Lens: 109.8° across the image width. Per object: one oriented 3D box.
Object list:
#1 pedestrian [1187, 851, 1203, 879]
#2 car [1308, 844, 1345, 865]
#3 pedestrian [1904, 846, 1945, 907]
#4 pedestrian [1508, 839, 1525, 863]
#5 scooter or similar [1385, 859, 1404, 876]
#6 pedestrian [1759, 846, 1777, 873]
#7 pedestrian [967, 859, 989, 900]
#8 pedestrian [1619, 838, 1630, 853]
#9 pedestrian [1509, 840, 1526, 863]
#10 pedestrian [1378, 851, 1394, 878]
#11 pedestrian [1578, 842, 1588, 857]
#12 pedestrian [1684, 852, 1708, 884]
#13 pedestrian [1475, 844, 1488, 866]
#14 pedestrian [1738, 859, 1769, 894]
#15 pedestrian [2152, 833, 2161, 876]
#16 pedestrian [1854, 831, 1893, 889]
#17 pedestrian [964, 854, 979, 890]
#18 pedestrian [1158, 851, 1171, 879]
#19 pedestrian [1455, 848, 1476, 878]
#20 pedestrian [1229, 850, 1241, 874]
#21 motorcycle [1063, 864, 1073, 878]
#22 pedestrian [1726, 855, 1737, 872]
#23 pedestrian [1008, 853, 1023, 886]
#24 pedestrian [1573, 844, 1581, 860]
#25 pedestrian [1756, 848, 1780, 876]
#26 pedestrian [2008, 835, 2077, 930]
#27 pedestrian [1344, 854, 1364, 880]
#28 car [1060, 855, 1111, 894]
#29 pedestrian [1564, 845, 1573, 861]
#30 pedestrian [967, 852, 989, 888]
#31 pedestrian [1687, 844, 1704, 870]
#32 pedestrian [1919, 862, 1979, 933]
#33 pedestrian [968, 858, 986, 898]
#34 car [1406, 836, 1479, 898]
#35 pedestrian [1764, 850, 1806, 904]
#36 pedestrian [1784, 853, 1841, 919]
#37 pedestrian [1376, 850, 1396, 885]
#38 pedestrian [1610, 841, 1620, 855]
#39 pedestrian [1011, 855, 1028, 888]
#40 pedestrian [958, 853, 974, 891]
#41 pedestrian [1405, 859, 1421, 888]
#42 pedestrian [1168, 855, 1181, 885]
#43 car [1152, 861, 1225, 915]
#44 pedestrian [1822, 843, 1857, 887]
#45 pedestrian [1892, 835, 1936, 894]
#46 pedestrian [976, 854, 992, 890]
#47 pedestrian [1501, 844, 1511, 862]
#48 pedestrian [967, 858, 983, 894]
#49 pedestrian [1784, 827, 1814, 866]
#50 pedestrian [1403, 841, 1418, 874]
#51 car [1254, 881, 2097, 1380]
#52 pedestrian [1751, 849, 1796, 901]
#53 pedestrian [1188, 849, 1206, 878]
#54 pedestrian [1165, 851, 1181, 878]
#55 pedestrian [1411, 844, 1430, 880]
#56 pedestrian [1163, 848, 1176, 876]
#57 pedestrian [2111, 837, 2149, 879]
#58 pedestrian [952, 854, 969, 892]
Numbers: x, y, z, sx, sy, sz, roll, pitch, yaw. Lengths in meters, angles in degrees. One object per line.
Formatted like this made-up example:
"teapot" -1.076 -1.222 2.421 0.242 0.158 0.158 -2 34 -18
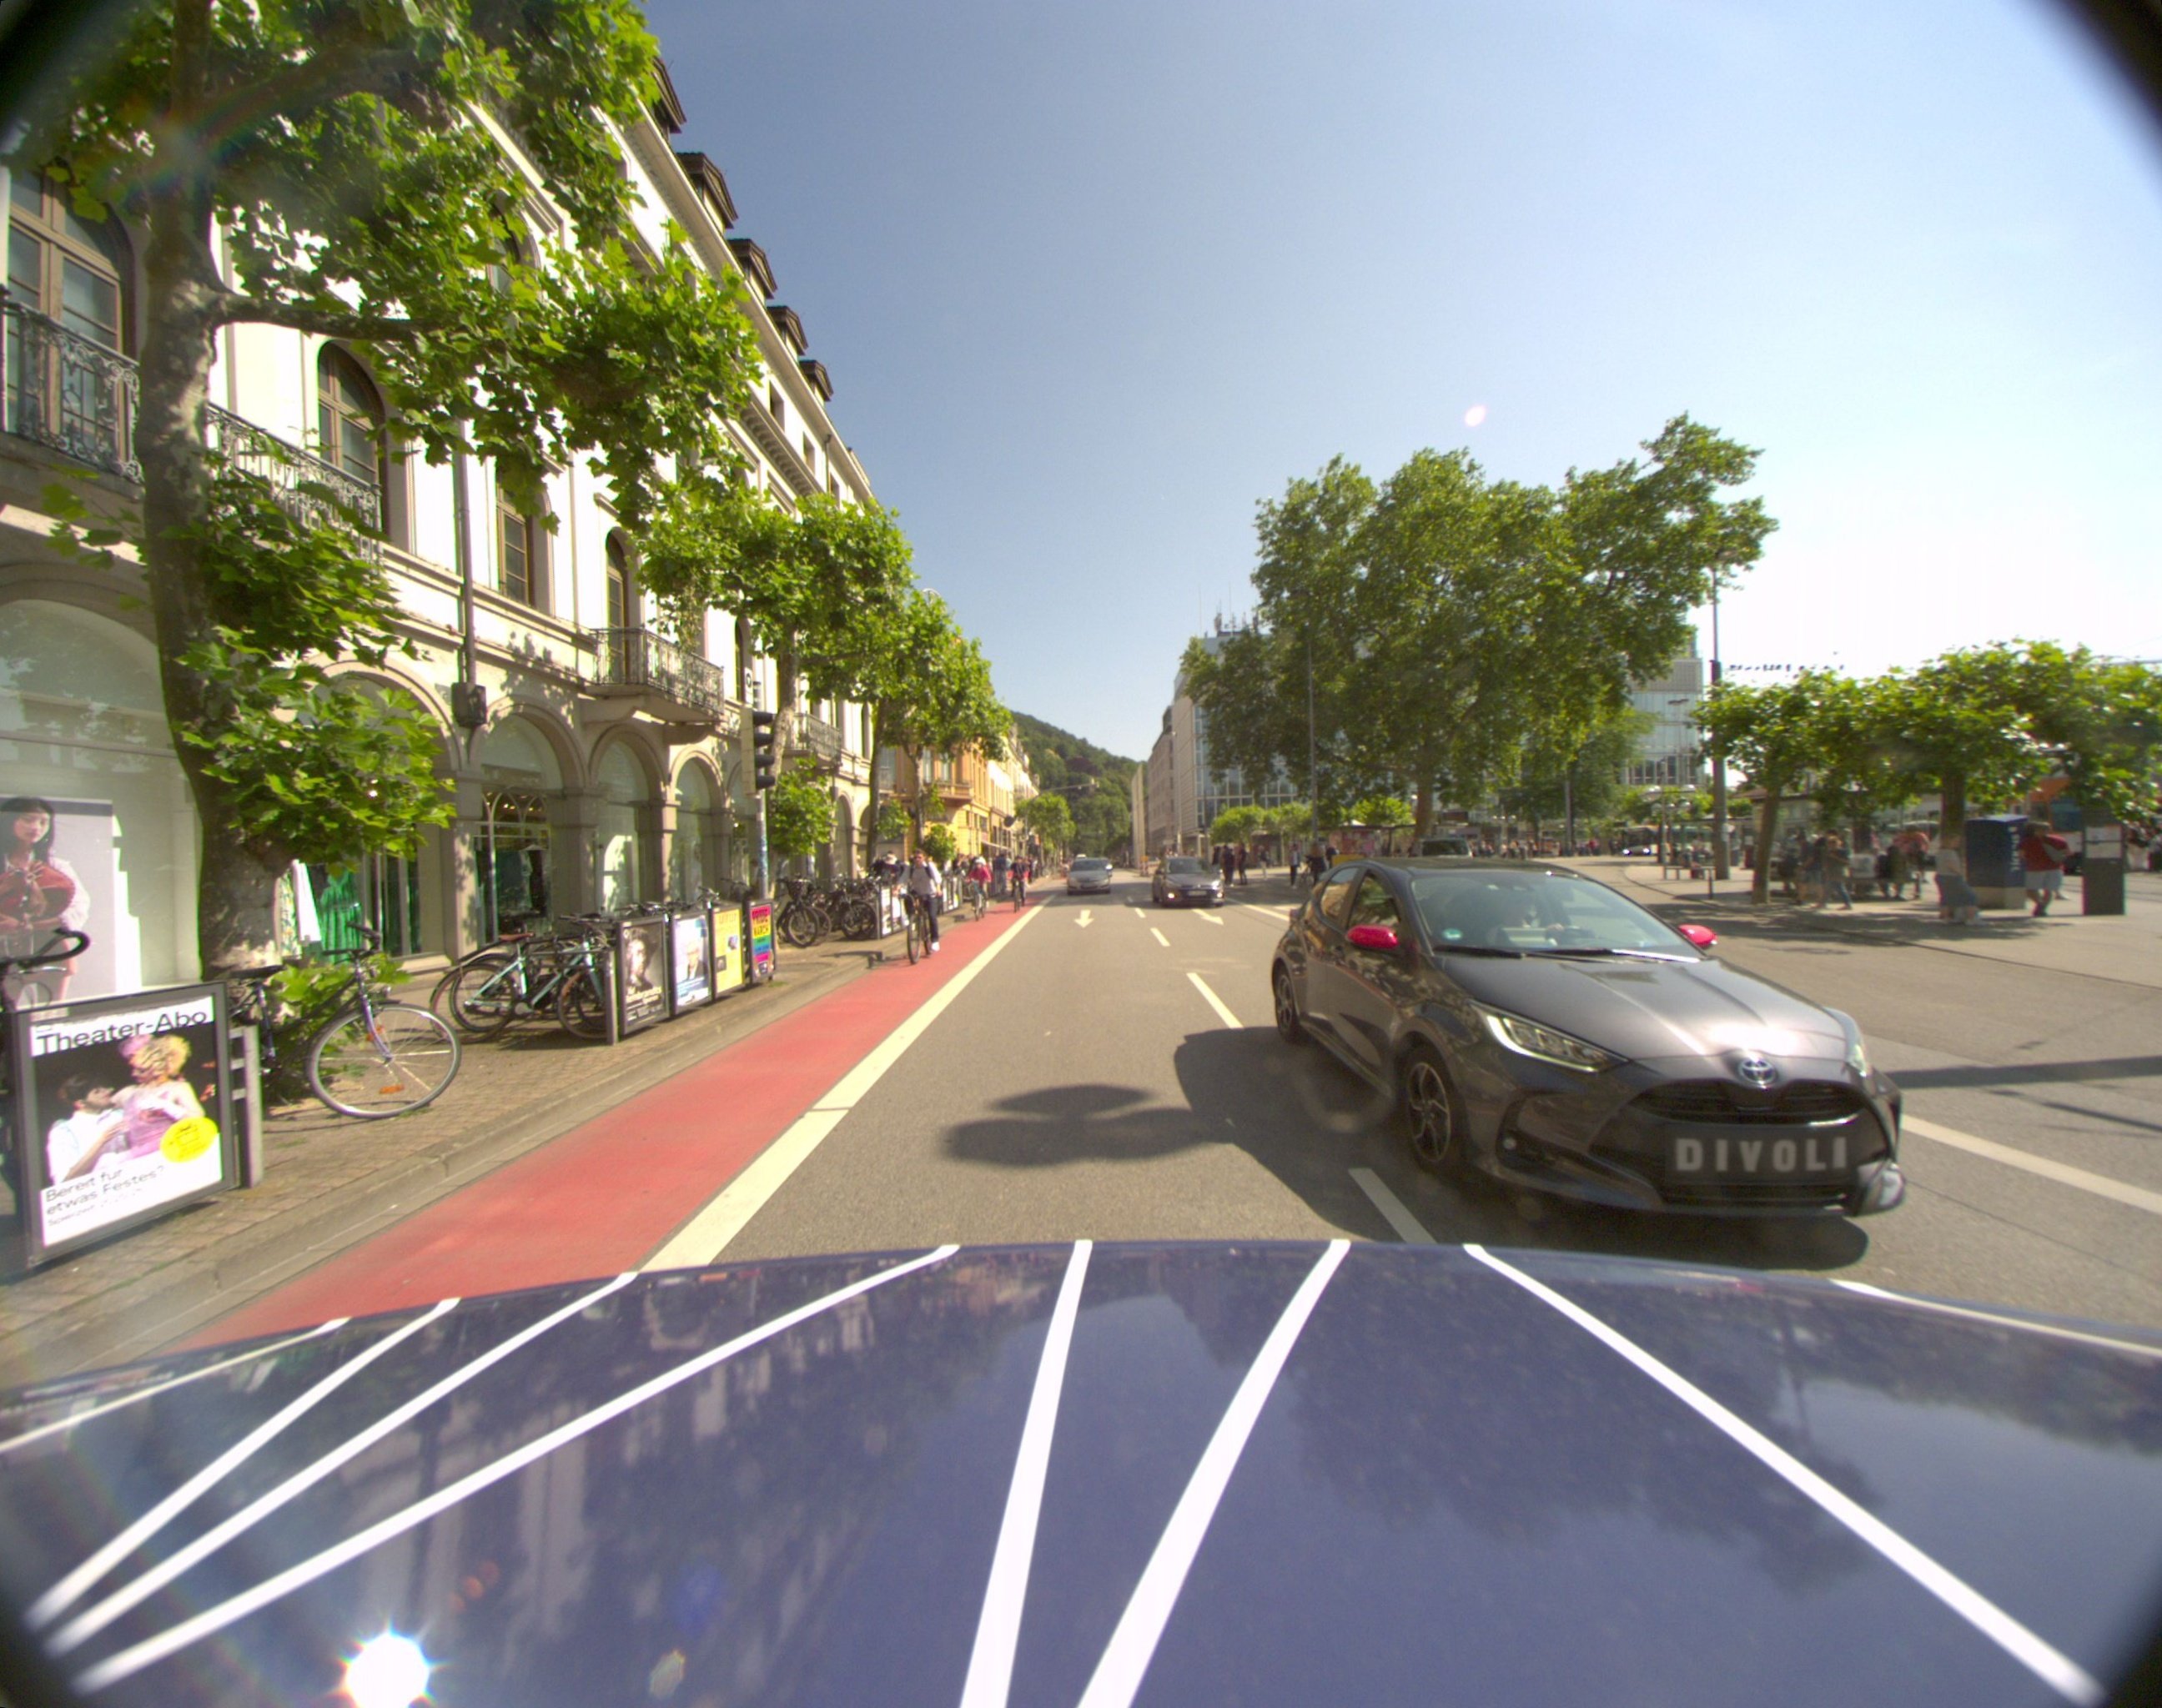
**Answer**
"pedestrian" 7.339 0.697 48.999 0.751 1.737 0.733 -3 1 -9
"car" 24.705 0.079 76.565 1.999 2.002 3.998 -3 0 -6
"pedestrian" 20.870 0.547 18.810 0.626 1.457 0.678 -2 1 -43
"pedestrian" 32.666 -0.210 56.973 0.752 1.737 0.782 -3 1 -9
"scooter or similar" 13.128 0.570 31.840 0.579 0.643 0.787 -3 0 34
"pedestrian" 38.056 0.282 42.083 0.554 1.464 0.456 -3 1 8
"pedestrian" -4.311 1.061 31.838 0.620 1.675 0.579 -3 1 34
"pedestrian" 54.799 -0.829 76.658 0.756 1.464 0.556 -3 1 28
"pedestrian" 33.521 -0.198 58.305 0.752 1.737 0.782 -3 1 -9
"pedestrian" 13.067 0.450 32.578 0.506 1.166 0.349 -3 1 34
"pedestrian" 50.485 -0.476 76.439 0.756 1.464 0.556 -3 1 28
"pedestrian" 24.041 0.545 29.694 0.497 1.246 0.484 -3 1 -1
"pedestrian" 32.766 0.047 62.176 0.750 1.737 0.784 -3 1 39
"pedestrian" 23.911 0.784 27.017 0.578 1.226 0.553 1 0 -11
"pedestrian" 38.658 0.023 27.006 0.681 1.540 0.577 1 0 -26
"pedestrian" 24.416 0.192 23.429 0.577 1.767 0.682 1 0 21
"pedestrian" -5.526 0.896 38.217 0.578 1.792 0.697 -3 1 -2
"pedestrian" 5.437 0.721 49.652 0.639 1.737 0.733 -3 1 -1
"pedestrian" 23.391 0.558 46.234 0.752 1.737 0.782 -3 1 -9
"pedestrian" 11.140 0.581 54.866 0.732 1.660 0.640 -3 1 14
"motorcycle" -1.042 1.377 61.955 0.736 1.086 1.898 -3 0 1
"pedestrian" 36.946 0.539 43.140 0.330 0.957 0.335 -3 1 -18
"pedestrian" -3.564 0.840 41.234 0.606 1.726 0.647 -1 1 -22
"pedestrian" 46.266 -0.160 70.842 0.554 1.464 0.759 -3 1 37
"pedestrian" 36.875 0.428 40.784 0.554 1.464 0.758 -3 1 8
"pedestrian" 18.208 0.529 14.403 0.623 1.735 0.682 1 0 35
"pedestrian" 13.348 0.618 37.157 0.672 1.234 0.615 -3 1 -7
"car" 0.223 0.808 31.429 1.918 1.401 4.000 -3 0 2
"pedestrian" 46.086 -0.103 71.800 0.554 1.464 0.759 -3 1 37
"pedestrian" -5.492 0.842 40.529 0.621 1.834 0.857 -3 1 39
"pedestrian" 35.974 0.162 44.476 0.554 1.464 0.532 -3 1 8
"pedestrian" 15.528 0.767 13.603 0.577 1.226 0.555 -1 1 35
"pedestrian" -4.502 1.047 32.947 0.578 1.675 0.775 -3 1 -2
"car" 13.102 0.395 27.785 1.996 2.002 5.074 -3 0 22
"pedestrian" 19.451 0.627 21.000 0.623 1.457 0.682 1 0 21
"pedestrian" 16.643 0.713 17.302 0.624 1.457 0.680 1 0 1
"pedestrian" 13.157 0.581 32.787 0.579 1.452 0.787 -3 1 34
"pedestrian" 56.477 -0.630 80.342 0.756 1.464 0.556 -3 1 28
"pedestrian" -3.234 0.911 39.935 0.579 1.675 0.726 -3 1 -22
"pedestrian" -5.318 0.834 35.222 0.578 1.714 0.622 -3 1 -2
"pedestrian" 14.323 0.846 32.784 0.500 1.199 0.460 -3 1 34
"pedestrian" 5.427 0.913 44.219 0.575 1.704 0.652 -3 1 -1
"car" 3.107 0.940 22.680 1.699 1.396 4.000 -1 0 2
"pedestrian" 26.846 0.392 26.909 0.573 1.540 0.657 1 0 3
"pedestrian" 25.447 0.330 23.218 0.680 1.767 0.578 1 0 4
"pedestrian" -5.037 0.940 39.544 0.686 1.847 0.622 -3 1 -2
"pedestrian" 34.766 -0.051 62.129 0.464 1.464 0.410 -3 1 -1
"pedestrian" -4.721 0.979 33.932 0.578 1.574 0.622 -3 1 -2
"pedestrian" 29.190 -0.294 30.901 0.679 1.540 0.579 1 0 21
"pedestrian" 17.482 0.168 40.348 0.554 1.717 0.492 -3 1 8
"car" 2.413 0.970 4.486 1.782 1.466 3.999 0 0 -1
"pedestrian" 19.635 0.586 21.555 0.727 1.457 0.682 1 0 21
"pedestrian" 7.005 0.564 45.879 0.722 1.737 0.884 -3 1 -9
"pedestrian" 6.123 0.717 50.422 0.876 1.737 0.733 -3 1 -1
"pedestrian" 16.660 0.409 37.322 0.537 1.737 0.613 -3 1 -9
"pedestrian" 5.504 0.504 47.249 0.639 1.737 0.733 -3 1 -1
"pedestrian" 39.042 0.150 28.279 0.577 1.540 0.682 1 0 27
"pedestrian" -5.357 0.831 33.886 0.578 1.675 0.622 -3 1 -2
